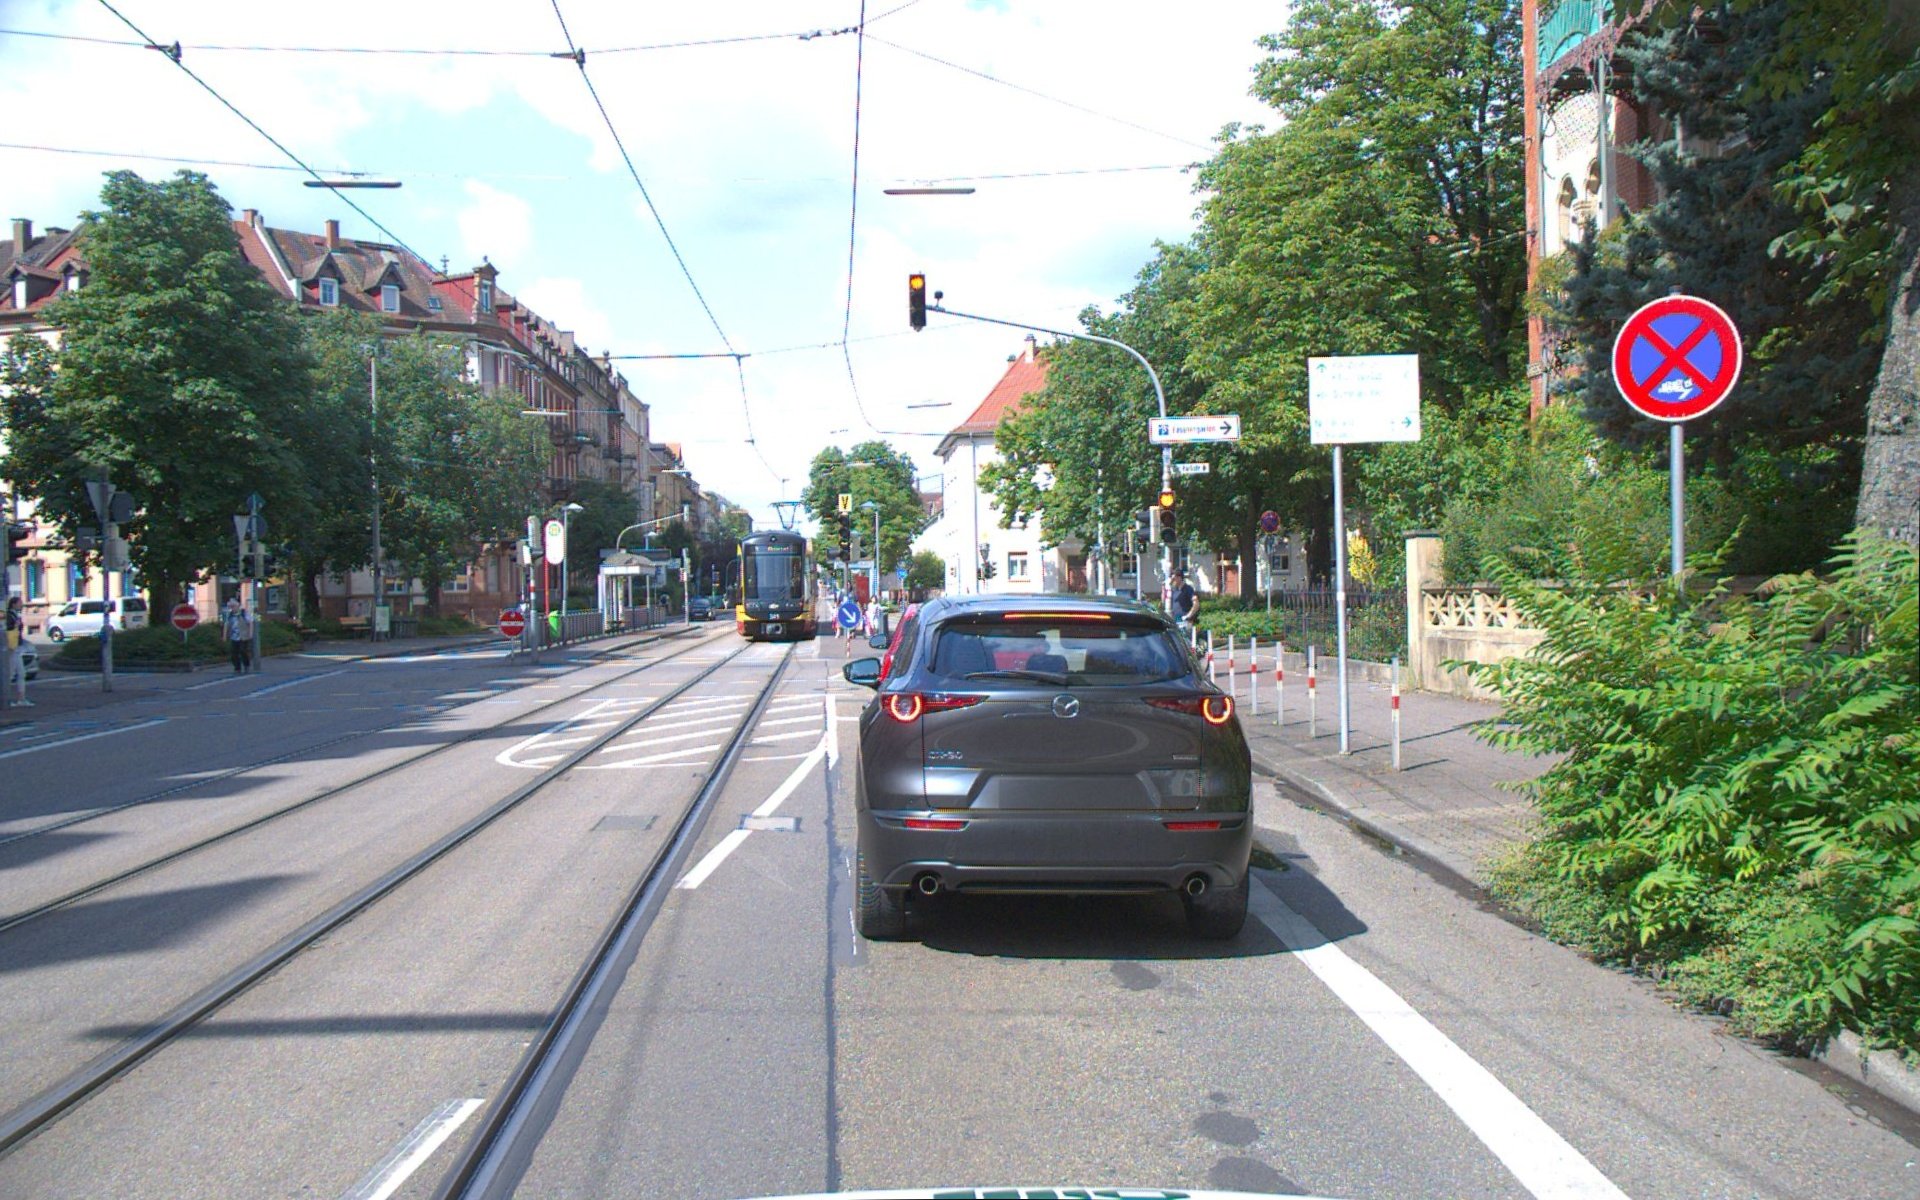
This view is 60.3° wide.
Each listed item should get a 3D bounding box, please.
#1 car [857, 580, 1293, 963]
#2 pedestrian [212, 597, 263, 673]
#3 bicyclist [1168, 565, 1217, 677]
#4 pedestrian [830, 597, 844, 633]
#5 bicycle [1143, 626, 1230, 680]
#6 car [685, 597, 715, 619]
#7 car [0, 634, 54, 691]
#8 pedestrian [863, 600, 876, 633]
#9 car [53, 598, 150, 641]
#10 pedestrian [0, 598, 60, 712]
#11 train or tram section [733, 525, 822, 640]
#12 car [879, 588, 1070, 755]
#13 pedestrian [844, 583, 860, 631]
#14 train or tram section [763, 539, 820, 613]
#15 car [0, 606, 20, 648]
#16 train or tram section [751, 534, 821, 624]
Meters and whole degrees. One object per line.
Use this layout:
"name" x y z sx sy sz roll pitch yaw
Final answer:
"car" 0.418 0.681 8.656 1.742 1.526 3.999 1 0 -2
"pedestrian" -16.809 0.805 38.500 0.804 1.735 0.719 -1 0 4
"bicyclist" 3.891 0.345 27.698 0.597 1.824 0.656 -1 0 -11
"pedestrian" -3.769 0.443 50.705 0.372 1.089 0.474 -1 0 -6
"bicycle" 3.860 0.885 28.112 1.685 0.838 0.487 -1 0 -43
"car" -16.273 0.497 103.686 1.583 1.333 3.624 -1 0 -5
"car" -22.417 1.408 37.461 3.916 1.203 1.674 -1 0 33
"pedestrian" -2.777 0.504 50.848 0.372 1.001 0.474 -1 0 -6
"car" -40.339 0.928 77.714 3.906 1.937 1.999 -1 0 23
"pedestrian" -15.151 0.878 26.712 0.668 1.785 0.801 -1 0 21
"train or tram section" -6.352 -0.702 59.074 2.699 3.551 14.394 -1 1 -5
"car" 0.084 0.648 17.271 1.742 1.526 3.999 1 0 -2
"pedestrian" -3.318 0.213 50.787 0.441 1.459 0.474 -1 0 -6
"train or tram section" -8.836 -1.301 87.754 2.699 3.551 14.394 -1 1 -5
"car" -39.577 1.110 65.169 3.906 1.624 2.000 -1 0 -1
"train or tram section" -7.593 -0.995 73.409 2.699 3.551 14.394 -1 1 -5
